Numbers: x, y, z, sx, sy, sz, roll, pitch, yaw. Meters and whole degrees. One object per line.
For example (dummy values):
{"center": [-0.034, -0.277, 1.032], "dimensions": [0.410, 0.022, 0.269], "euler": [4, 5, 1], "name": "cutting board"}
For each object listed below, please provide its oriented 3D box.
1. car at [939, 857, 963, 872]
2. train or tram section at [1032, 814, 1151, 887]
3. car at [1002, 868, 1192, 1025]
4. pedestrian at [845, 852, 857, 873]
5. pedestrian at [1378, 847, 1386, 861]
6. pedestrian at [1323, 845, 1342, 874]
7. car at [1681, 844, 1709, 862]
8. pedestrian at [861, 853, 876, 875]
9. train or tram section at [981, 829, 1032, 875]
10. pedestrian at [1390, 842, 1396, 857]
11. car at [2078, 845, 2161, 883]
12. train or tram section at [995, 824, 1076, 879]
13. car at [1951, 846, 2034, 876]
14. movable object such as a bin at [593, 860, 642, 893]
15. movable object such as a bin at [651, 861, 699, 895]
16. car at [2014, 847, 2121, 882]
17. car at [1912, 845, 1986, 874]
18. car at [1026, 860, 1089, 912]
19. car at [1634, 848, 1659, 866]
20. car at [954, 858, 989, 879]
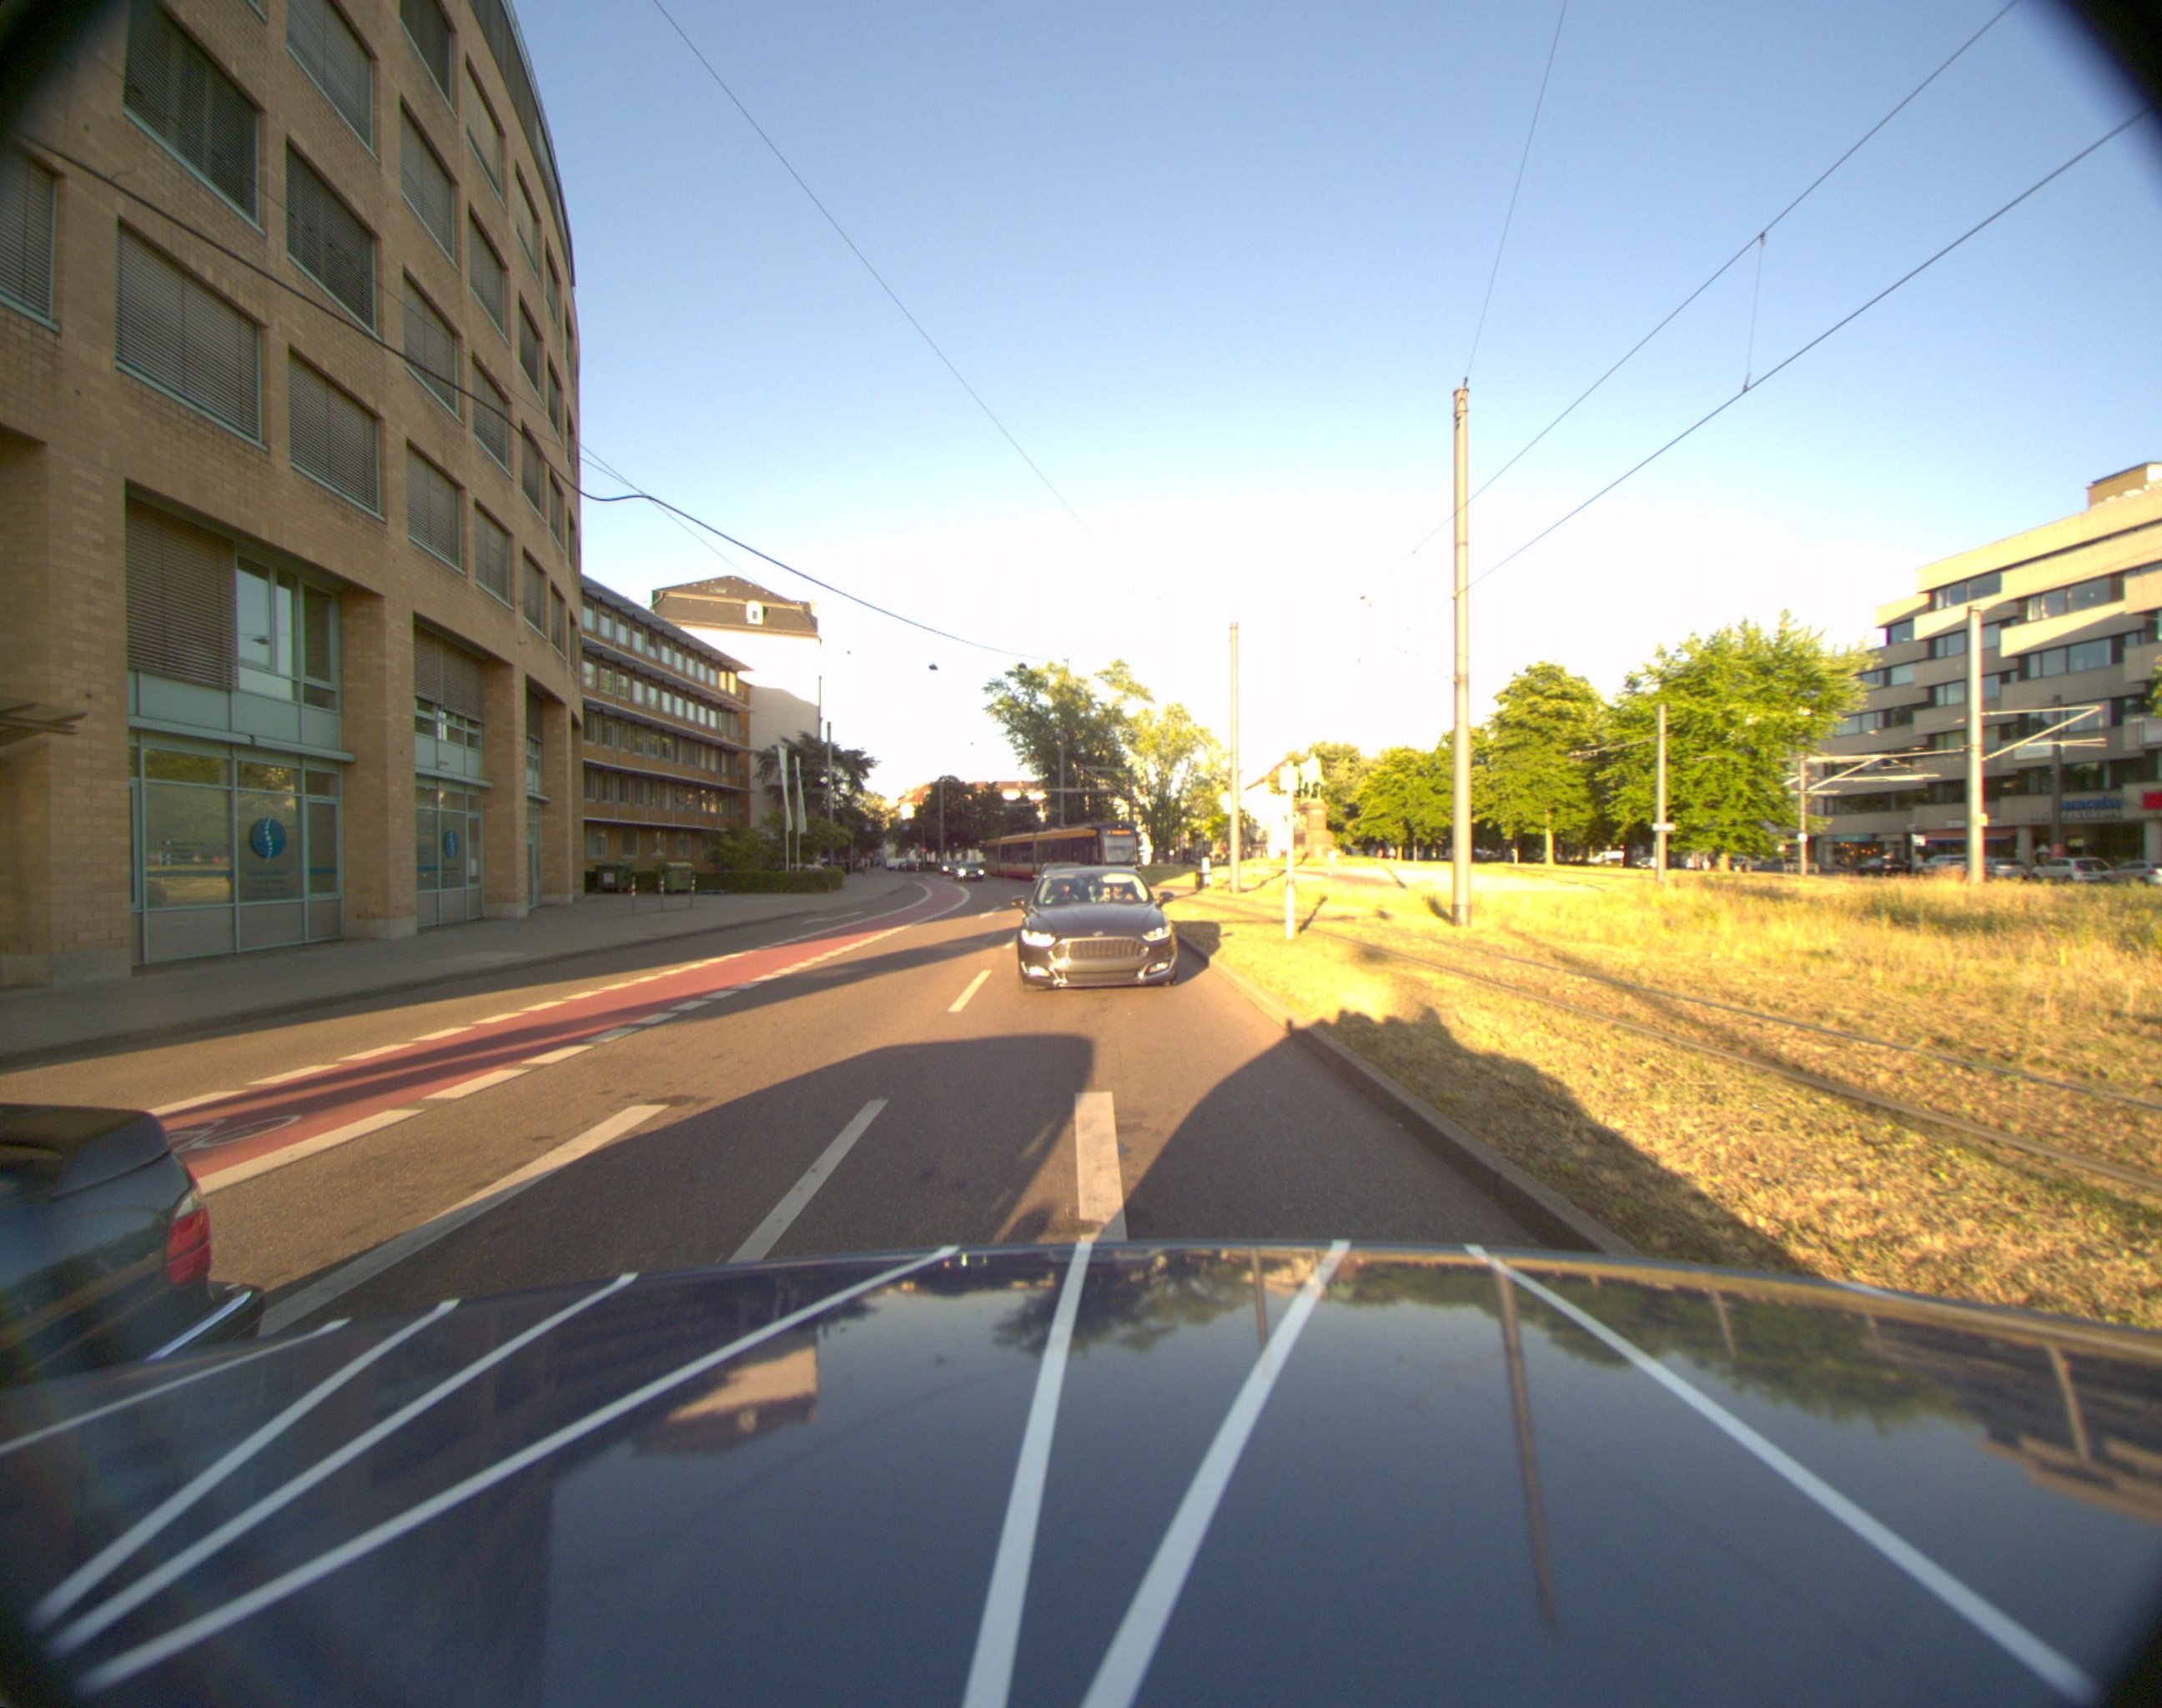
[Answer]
{"center": [-13.179, 1.030, 77.105], "dimensions": [1.759, 1.379, 3.999], "euler": [-3, 0, -1], "name": "car"}
{"center": [0.168, -0.196, 45.505], "dimensions": [2.920, 3.717, 13.197], "euler": [-1, 0, -18], "name": "train or tram section"}
{"center": [0.204, 0.970, 9.977], "dimensions": [1.890, 1.477, 4.725], "euler": [0, 0, 1], "name": "car"}
{"center": [-19.939, 0.726, 65.887], "dimensions": [0.728, 1.797, 0.724], "euler": [-1, 1, 1], "name": "pedestrian"}
{"center": [35.433, -0.034, 89.488], "dimensions": [0.711, 1.660, 0.635], "euler": [-1, 1, 1], "name": "pedestrian"}
{"center": [15.319, 0.331, 46.368], "dimensions": [0.891, 1.718, 0.797], "euler": [-1, 1, 1], "name": "pedestrian"}
{"center": [71.993, -0.150, 89.102], "dimensions": [1.995, 2.002, 4.007], "euler": [-2, 1, 32], "name": "car"}
{"center": [-18.910, 0.895, 67.574], "dimensions": [0.913, 1.883, 1.123], "euler": [-1, 1, -33], "name": "pedestrian"}
{"center": [-6.930, -0.180, 68.712], "dimensions": [2.916, 3.717, 12.177], "euler": [-1, 0, -13], "name": "train or tram section"}
{"center": [36.503, -0.501, 88.861], "dimensions": [0.535, 1.684, 0.512], "euler": [-1, 1, 1], "name": "pedestrian"}
{"center": [54.126, 0.492, 38.958], "dimensions": [1.921, 1.853, 4.006], "euler": [-1, 0, 23], "name": "car"}
{"center": [-3.717, -0.176, 57.303], "dimensions": [2.889, 3.717, 12.163], "euler": [-1, 0, -19], "name": "train or tram section"}
{"center": [58.826, 0.432, 49.136], "dimensions": [1.995, 1.868, 4.007], "euler": [0, 0, 27], "name": "car"}
{"center": [-21.191, 1.030, 34.761], "dimensions": [1.427, 1.450, 1.332], "euler": [-1, 0, -2], "name": "movable object such as a bin"}
{"center": [-18.276, 1.057, 34.234], "dimensions": [1.427, 1.450, 1.332], "euler": [-1, 0, -3], "name": "movable object such as a bin"}
{"center": [56.264, 0.556, 43.468], "dimensions": [1.995, 1.868, 4.006], "euler": [-1, 0, 22], "name": "car"}
{"center": [61.350, 0.378, 53.811], "dimensions": [1.995, 1.925, 4.007], "euler": [-1, 0, 24], "name": "car"}
{"center": [-0.709, 1.019, 26.151], "dimensions": [1.897, 1.526, 4.705], "euler": [-2, 0, 1], "name": "car"}
{"center": [67.987, 0.384, 91.407], "dimensions": [1.995, 2.002, 4.007], "euler": [-2, 1, 32], "name": "car"}
{"center": [-8.071, 1.056, 55.849], "dimensions": [2.001, 1.453, 4.137], "euler": [-1, 0, -16], "name": "car"}
